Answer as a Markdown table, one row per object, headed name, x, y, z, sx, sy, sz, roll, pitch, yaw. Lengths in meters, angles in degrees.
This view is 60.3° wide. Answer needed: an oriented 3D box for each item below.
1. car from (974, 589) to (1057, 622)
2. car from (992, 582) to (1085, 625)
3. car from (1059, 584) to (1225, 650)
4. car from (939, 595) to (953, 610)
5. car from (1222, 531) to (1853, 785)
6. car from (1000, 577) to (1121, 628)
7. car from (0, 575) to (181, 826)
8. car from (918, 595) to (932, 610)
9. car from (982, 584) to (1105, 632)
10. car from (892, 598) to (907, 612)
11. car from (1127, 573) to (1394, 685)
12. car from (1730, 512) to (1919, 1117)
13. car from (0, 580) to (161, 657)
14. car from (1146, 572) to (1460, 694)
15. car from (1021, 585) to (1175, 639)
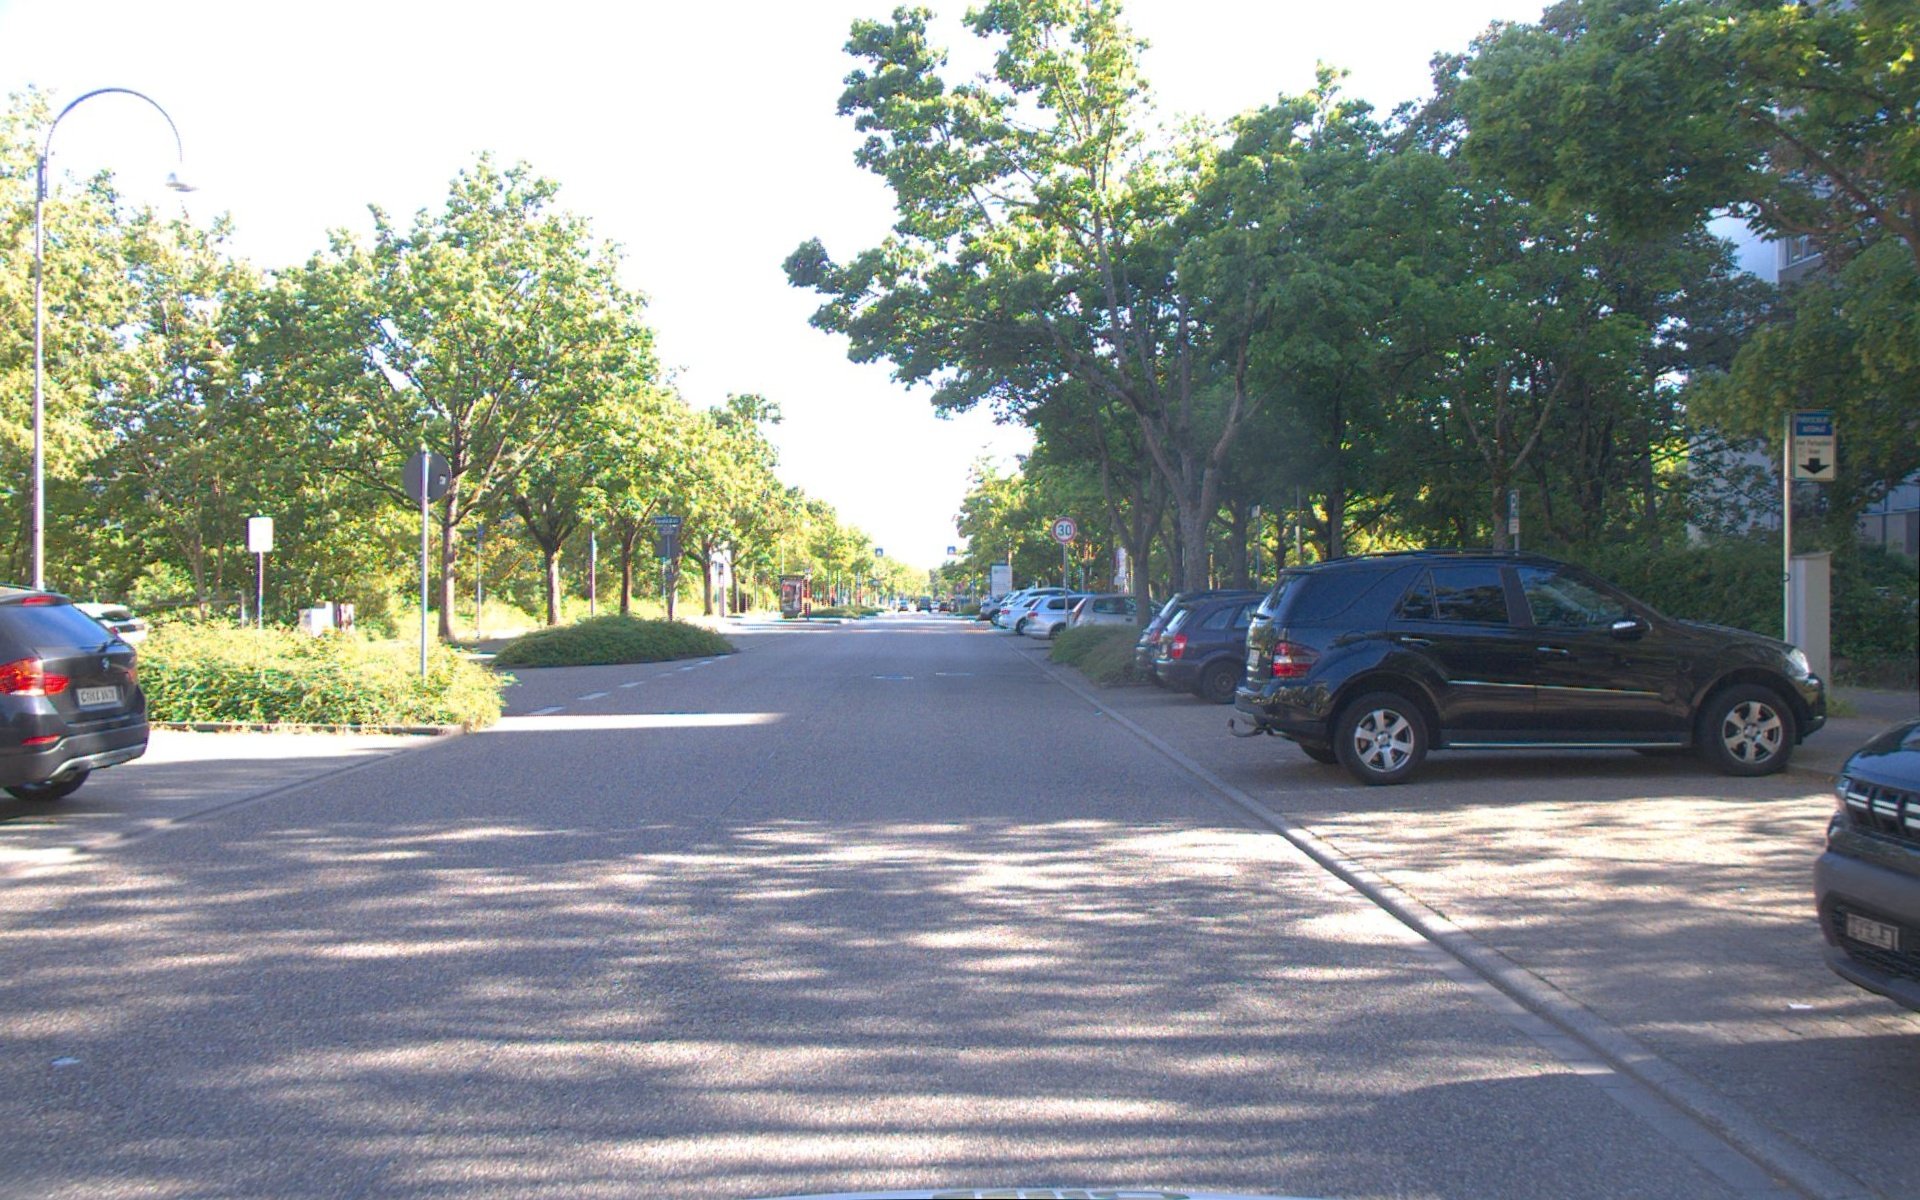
| name | x | y | z | sx | sy | sz | roll | pitch | yaw |
| --- | --- | --- | --- | --- | --- | --- | --- | --- | --- |
| car | 2.824 | 0.253 | 84.364 | 4.080 | 1.453 | 2.000 | -3 | 0 | -1 |
| car | 3.190 | 0.120 | 67.458 | 3.615 | 1.549 | 1.650 | -3 | 1 | -3 |
| car | 4.516 | 0.403 | 41.310 | 3.906 | 1.476 | 1.717 | -2 | 0 | -1 |
| car | -2.021 | 0.317 | 237.273 | 1.953 | 2.049 | 3.999 | 1 | 0 | -1 |
| car | 4.604 | 0.440 | 13.709 | 4.494 | 1.810 | 2.000 | -2 | 0 | -1 |
| car | 3.766 | 0.091 | 62.717 | 4.347 | 1.676 | 1.815 | -3 | 1 | -3 |
| car | -7.703 | 0.597 | 11.067 | 4.107 | 1.546 | 1.772 | 1 | 0 | -1 |
| car | -4.873 | 0.368 | 232.265 | 1.953 | 2.049 | 3.999 | 1 | 0 | -1 |
| car | 3.000 | 0.289 | 60.001 | 4.256 | 1.515 | 1.737 | -3 | 0 | -3 |
| car | -8.133 | 0.704 | 222.124 | 1.791 | 1.806 | 3.739 | 1 | 0 | -1 |
| car | 4.611 | 0.428 | 25.677 | 3.734 | 1.525 | 1.700 | -2 | 0 | -4 |
| car | 4.607 | 0.523 | 4.669 | 4.036 | 1.646 | 1.732 | -2 | -1 | -3 |
| car | -19.017 | 0.406 | 34.381 | 3.993 | 1.476 | 1.625 | -2 | 0 | 0 |
| car | 4.669 | 0.432 | 22.896 | 3.906 | 1.411 | 1.822 | -3 | 0 | -1 |
| car | 3.829 | 0.324 | 46.025 | 4.185 | 1.453 | 1.828 | 0 | 0 | 3 |
